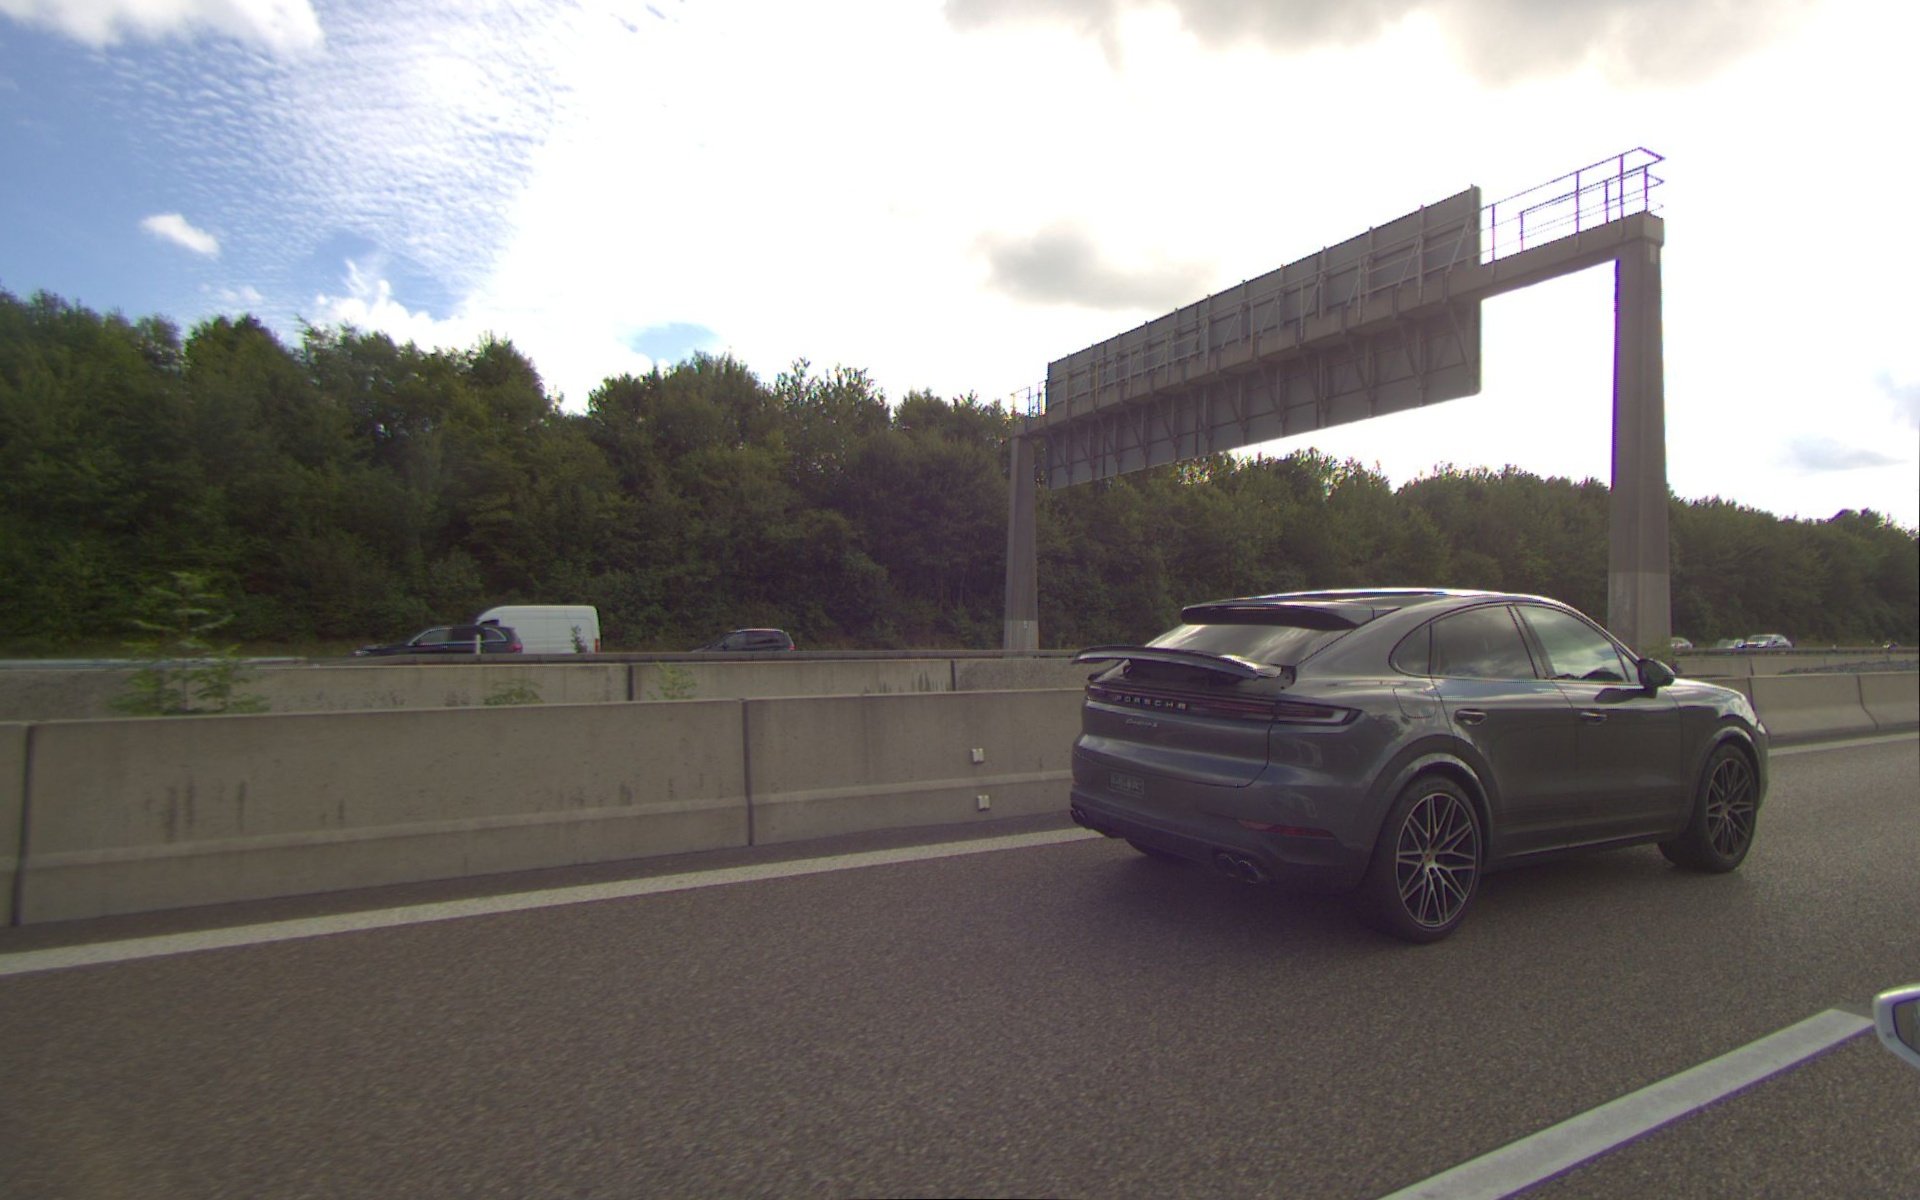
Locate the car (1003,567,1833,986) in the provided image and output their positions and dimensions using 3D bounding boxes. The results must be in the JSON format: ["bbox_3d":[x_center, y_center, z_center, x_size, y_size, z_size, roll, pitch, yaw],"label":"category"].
[{"bbox_3d":[3.057,0.761,6.193,5.436,1.658,1.903,1,-1,-30],"label":"car"}]

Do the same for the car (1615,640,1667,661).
[{"bbox_3d":[47.943,3.551,70.710,4.062,1.446,1.495,1,-2,-31],"label":"car"}]

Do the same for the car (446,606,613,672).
[{"bbox_3d":[-16.110,1.452,37.707,5.614,2.345,1.986,1,-2,-28],"label":"car"}]

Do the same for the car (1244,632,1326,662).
[{"bbox_3d":[18.835,2.701,58.154,4.890,1.655,1.726,1,-2,-31],"label":"car"}]

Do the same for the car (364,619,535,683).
[{"bbox_3d":[-14.993,1.475,29.621,4.374,1.752,1.843,1,-2,-30],"label":"car"}]

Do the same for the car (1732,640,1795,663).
[{"bbox_3d":[58.028,3.699,72.526,4.710,1.613,1.985,1,-2,-29],"label":"car"}]

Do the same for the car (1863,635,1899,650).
[{"bbox_3d":[93.847,4.343,102.350,4.133,1.514,1.584,1,-2,-31],"label":"car"}]

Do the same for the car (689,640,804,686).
[{"bbox_3d":[-8.101,2.351,38.203,3.954,1.669,1.650,1,-2,-31],"label":"car"}]

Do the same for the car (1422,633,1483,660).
[{"bbox_3d":[32.594,3.056,66.425,4.233,1.781,1.584,1,-2,-31],"label":"car"}]
